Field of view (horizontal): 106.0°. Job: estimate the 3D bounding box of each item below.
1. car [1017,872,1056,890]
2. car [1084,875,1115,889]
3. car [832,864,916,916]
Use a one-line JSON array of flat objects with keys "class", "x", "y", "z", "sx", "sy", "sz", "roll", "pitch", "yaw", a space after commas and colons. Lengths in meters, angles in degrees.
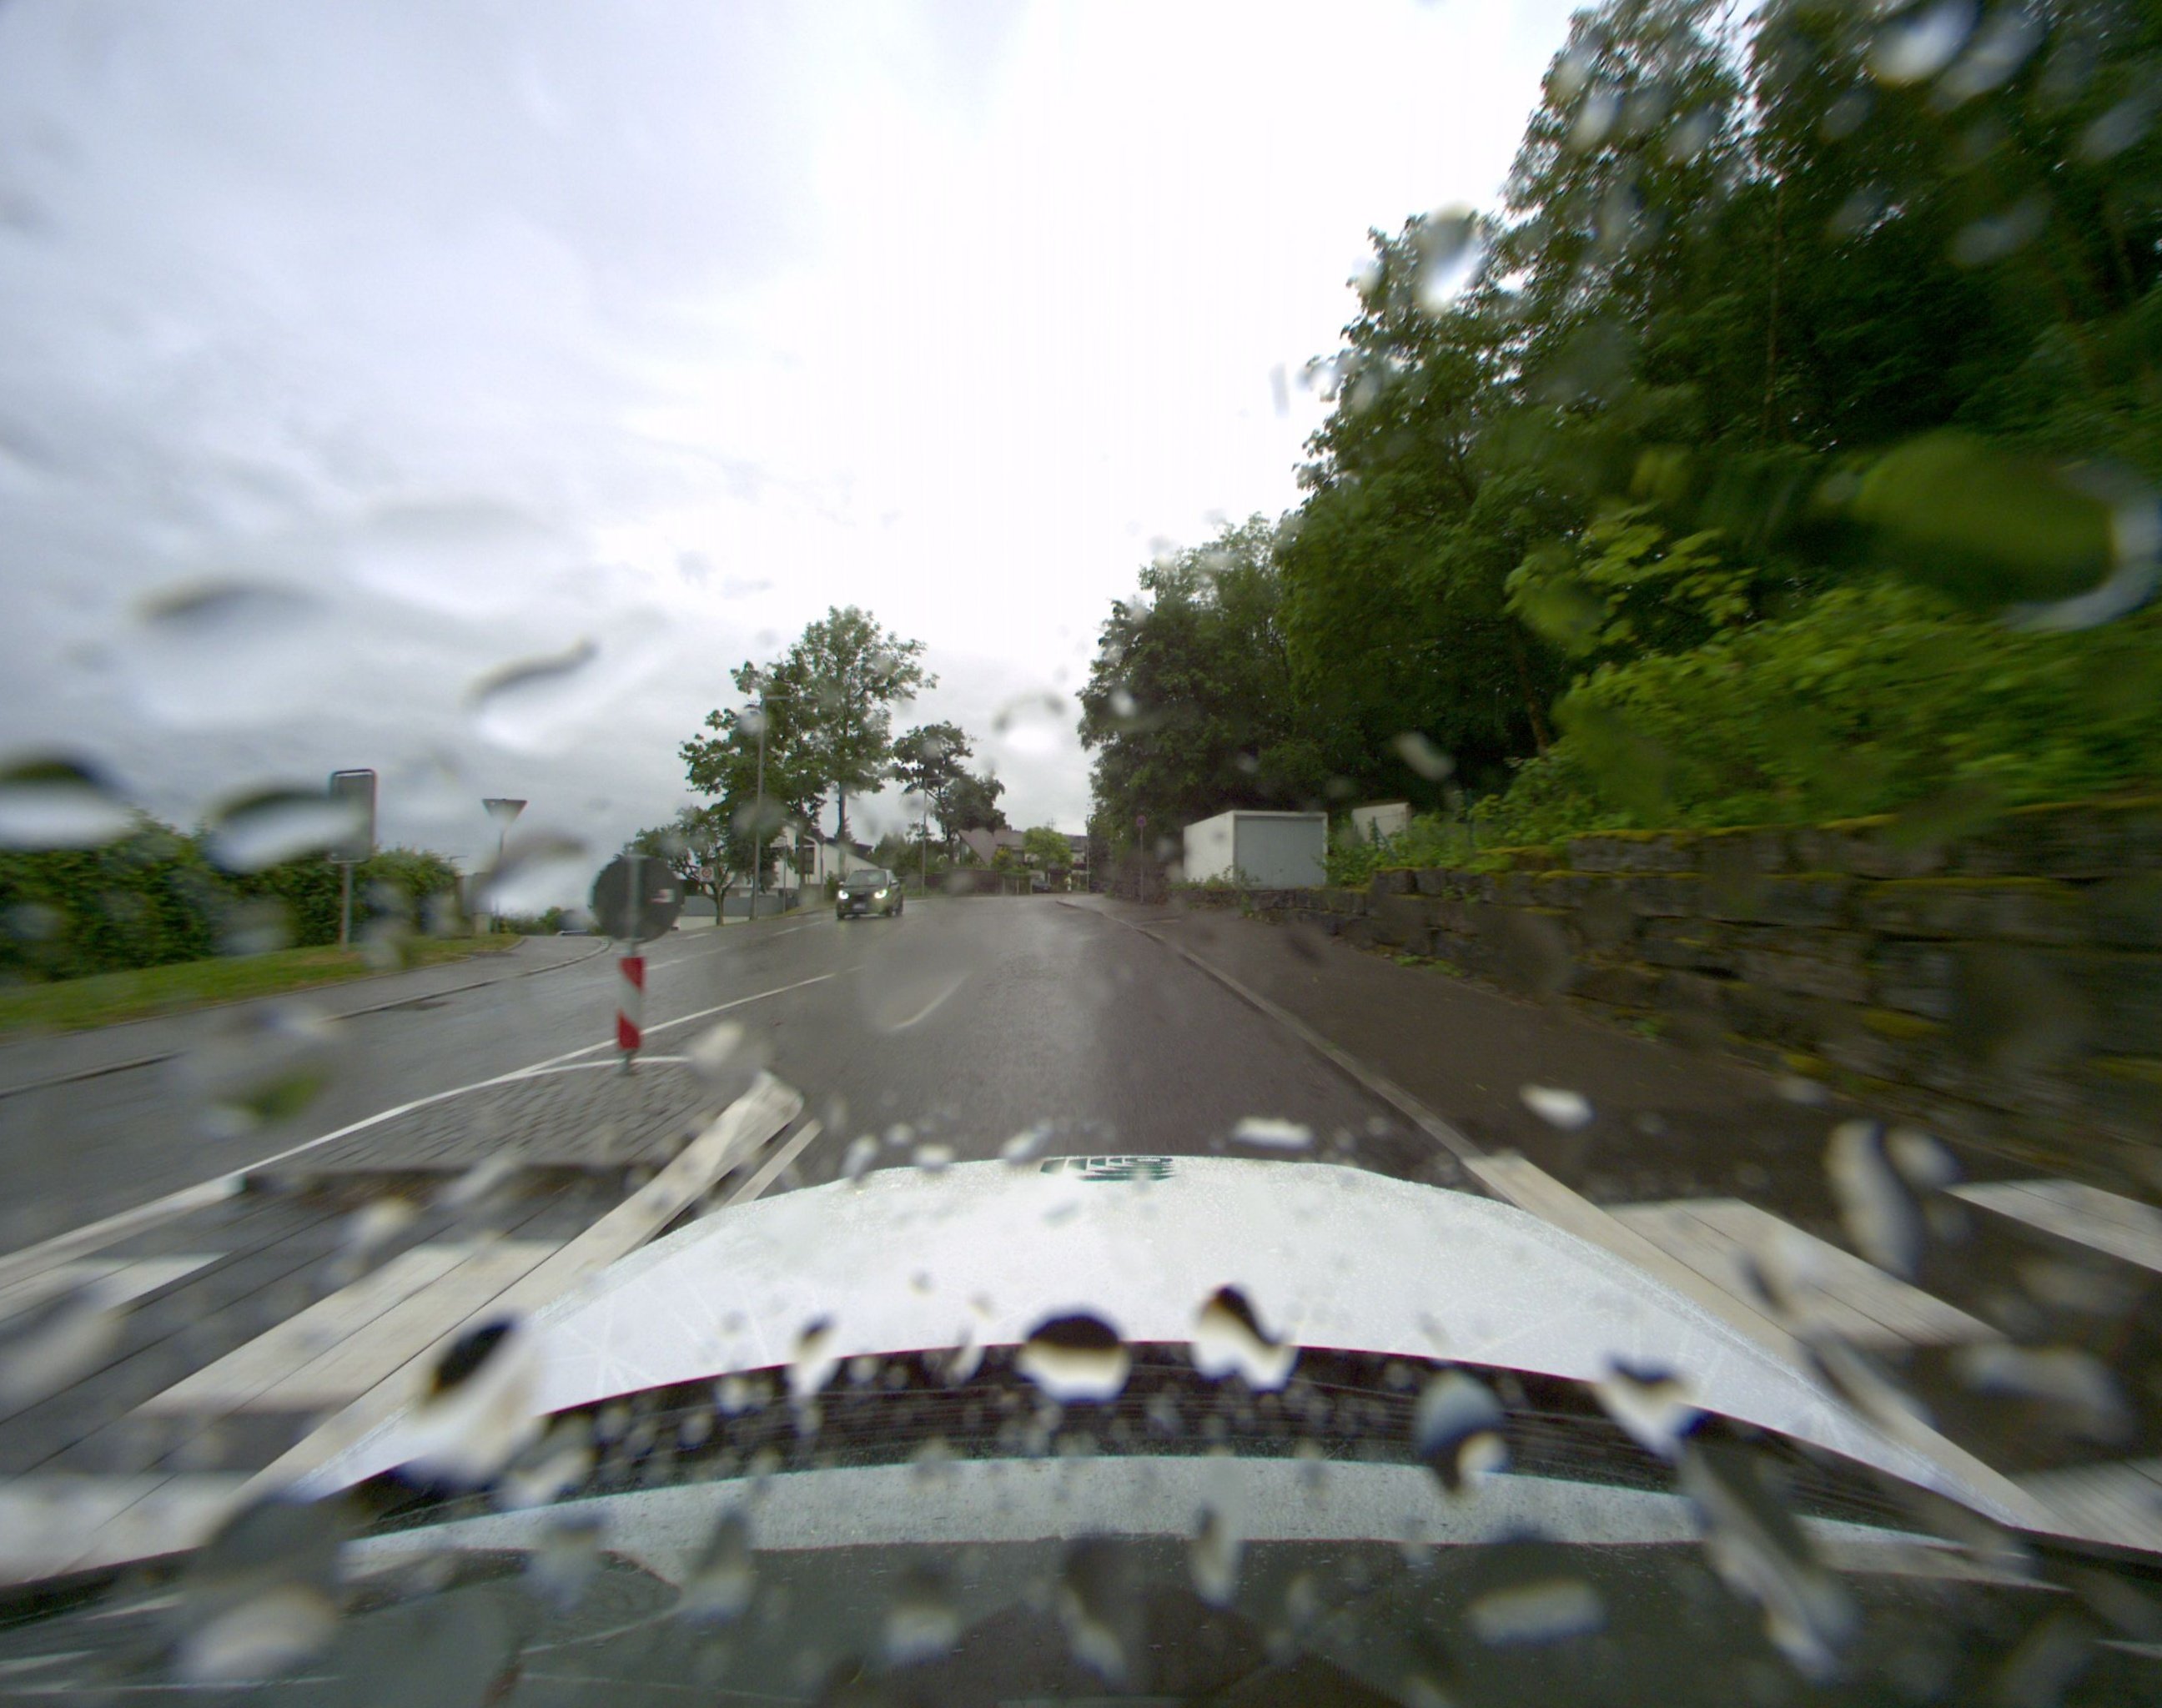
[{"class": "car", "x": -4.552, "y": 2.721, "z": 83.032, "sx": 2.023, "sy": 1.632, "sz": 3.955, "roll": 3, "pitch": -2, "yaw": -38}, {"class": "car", "x": 2.003, "y": 3.129, "z": 90.745, "sx": 1.943, "sy": 1.389, "sz": 3.967, "roll": 3, "pitch": -2, "yaw": -24}, {"class": "car", "x": -6.794, "y": 1.143, "z": 27.181, "sx": 1.828, "sy": 1.520, "sz": 4.620, "roll": -2, "pitch": -1, "yaw": -3}]
